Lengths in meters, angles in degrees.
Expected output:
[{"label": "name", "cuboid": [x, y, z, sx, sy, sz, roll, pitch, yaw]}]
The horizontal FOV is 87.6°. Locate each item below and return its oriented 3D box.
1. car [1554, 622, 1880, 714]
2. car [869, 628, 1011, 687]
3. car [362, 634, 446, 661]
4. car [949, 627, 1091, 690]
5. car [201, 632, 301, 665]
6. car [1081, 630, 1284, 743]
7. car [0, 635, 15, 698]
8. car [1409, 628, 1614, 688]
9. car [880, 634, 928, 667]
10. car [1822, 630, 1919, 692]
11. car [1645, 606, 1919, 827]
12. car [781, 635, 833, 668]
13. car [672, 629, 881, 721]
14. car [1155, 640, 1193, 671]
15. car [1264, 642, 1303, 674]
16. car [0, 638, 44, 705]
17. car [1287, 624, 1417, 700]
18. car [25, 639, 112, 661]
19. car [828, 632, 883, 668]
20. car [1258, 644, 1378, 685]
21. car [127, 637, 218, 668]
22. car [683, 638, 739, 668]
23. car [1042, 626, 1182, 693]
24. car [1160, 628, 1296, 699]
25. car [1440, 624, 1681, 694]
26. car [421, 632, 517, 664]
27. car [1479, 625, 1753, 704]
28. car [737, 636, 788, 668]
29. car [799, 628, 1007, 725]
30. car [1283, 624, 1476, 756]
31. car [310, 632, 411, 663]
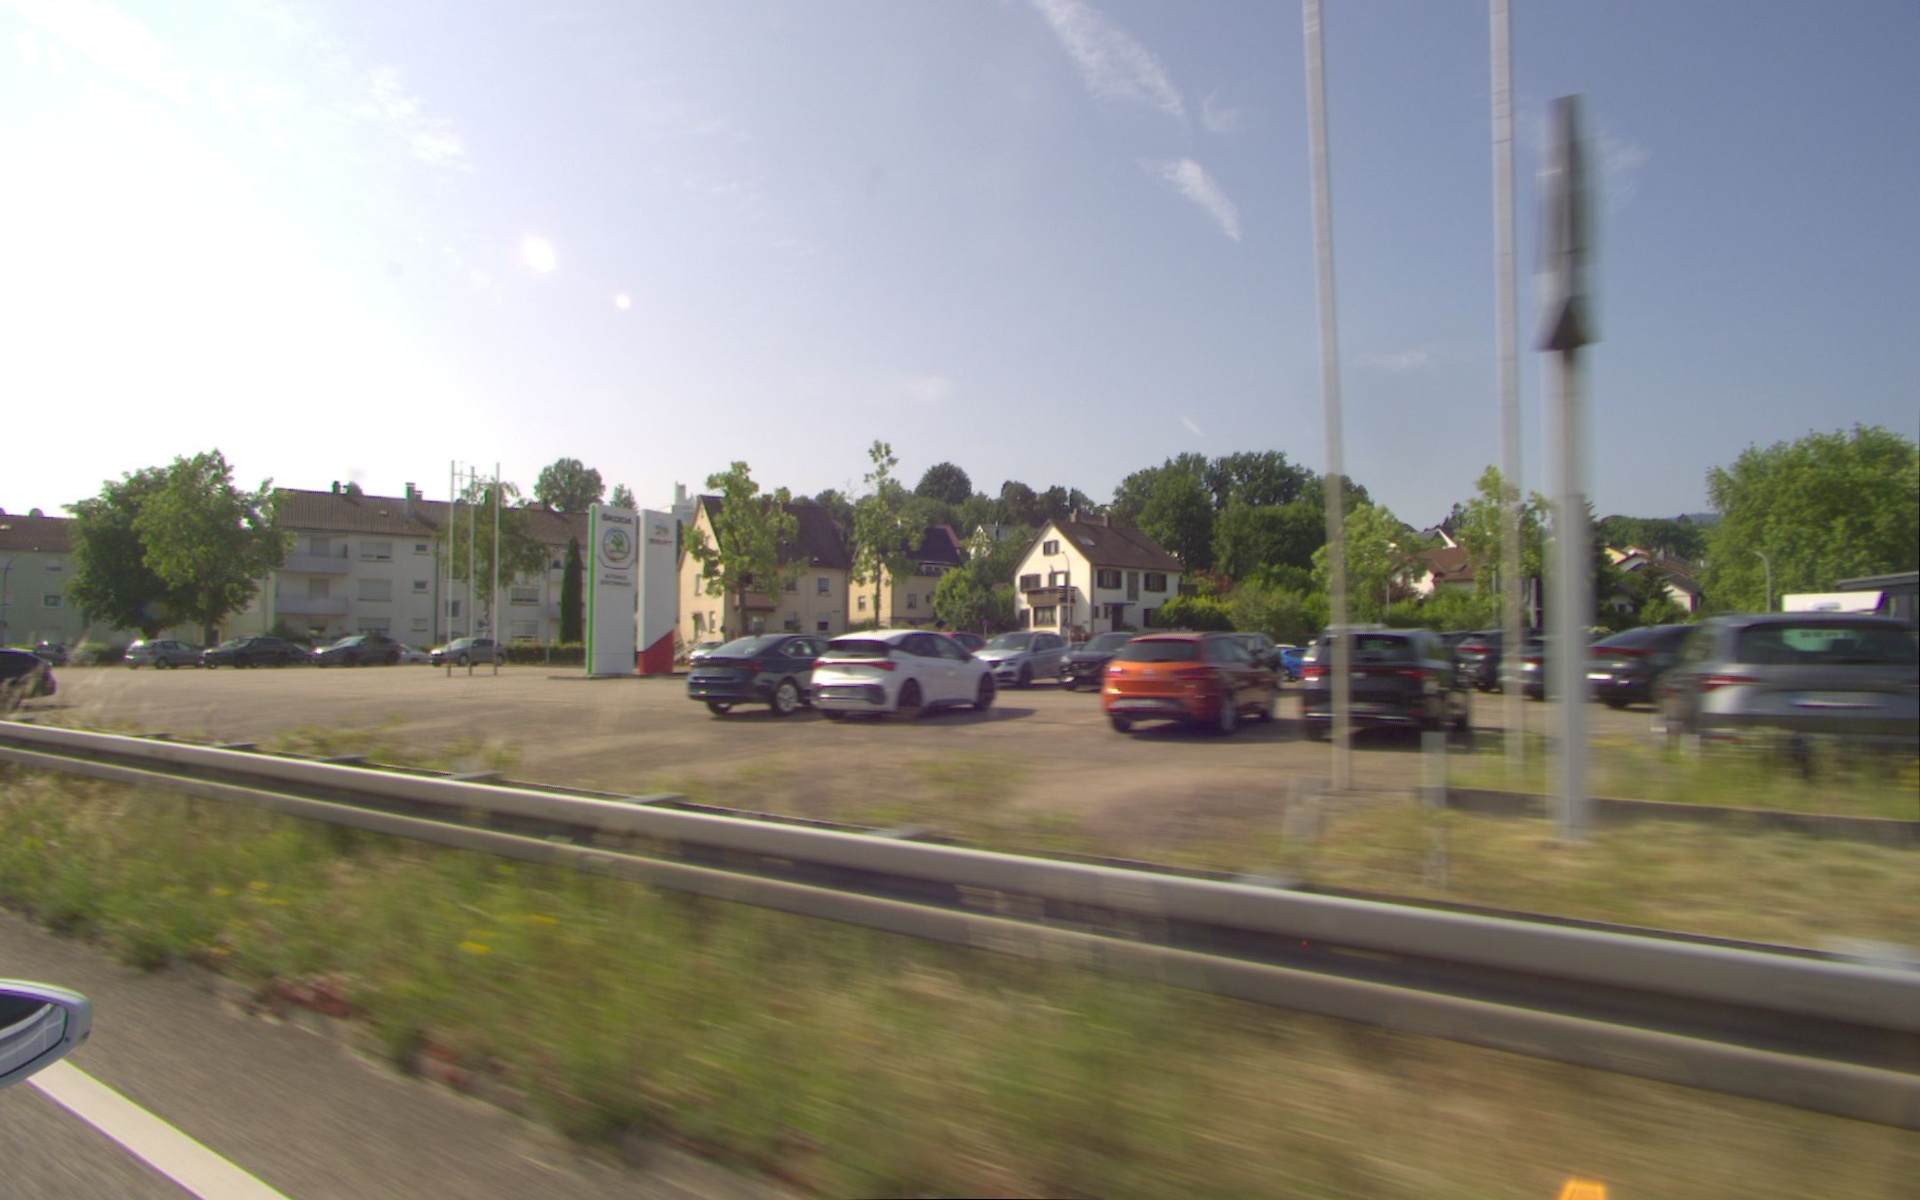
[{"label": "car", "cuboid": [14.125, 1.237, 18.882, 4.659, 1.585, 1.932, -1, -1, 0]}, {"label": "car", "cuboid": [-0.491, 1.654, 29.917, 1.905, 1.585, 4.725, -2, -2, 34]}, {"label": "car", "cuboid": [-32.074, 2.718, 57.793, 3.911, 1.493, 1.788, 0, -2, 4]}, {"label": "car", "cuboid": [1.799, 1.590, 28.355, 1.905, 1.585, 4.725, -2, -2, 34]}, {"label": "car", "cuboid": [-36.803, 2.512, 52.126, 1.805, 1.620, 4.499, 0, -2, 5]}, {"label": "car", "cuboid": [3.488, 1.202, 15.135, 1.799, 1.464, 3.981, -1, -2, 32]}, {"label": "car", "cuboid": [-25.657, 1.676, 23.927, 1.745, 1.576, 4.154, -1, -1, 29]}, {"label": "car", "cuboid": [15.050, 1.575, 27.580, 4.522, 1.566, 2.003, -1, -1, 9]}, {"label": "car", "cuboid": [-2.993, 2.708, 54.419, 1.894, 1.655, 4.753, -1, -1, 5]}, {"label": "car", "cuboid": [26.006, 1.599, 26.649, 4.276, 1.585, 1.789, -1, -1, 14]}, {"label": "car", "cuboid": [7.715, 0.938, 9.439, 1.766, 1.630, 4.072, -1, -2, 30]}, {"label": "car", "cuboid": [-8.199, 2.740, 53.978, 1.894, 1.608, 4.753, -1, -1, 2]}, {"label": "car", "cuboid": [-3.398, 1.359, 19.356, 1.797, 1.535, 4.153, -1, -2, 28]}, {"label": "car", "cuboid": [11.640, 2.990, 54.669, 1.742, 1.566, 4.752, -1, -2, 9]}, {"label": "car", "cuboid": [17.430, 3.129, 54.162, 1.744, 1.566, 4.747, -1, -2, 15]}, {"label": "car", "cuboid": [-23.378, 1.653, 22.239, 1.706, 1.510, 4.154, -1, -1, 29]}, {"label": "car", "cuboid": [9.385, 1.387, 23.748, 1.905, 1.585, 4.725, -2, -2, 34]}, {"label": "car", "cuboid": [-50.184, 2.806, 56.416, 3.591, 1.201, 1.595, 0, -2, 4]}, {"label": "car", "cuboid": [-5.565, 2.652, 54.023, 1.894, 1.803, 4.752, -1, -1, 7]}, {"label": "car", "cuboid": [14.840, 2.649, 41.599, 4.403, 1.566, 1.829, -2, -2, 34]}, {"label": "car", "cuboid": [-40.637, 2.667, 51.781, 1.625, 1.541, 3.768, 0, -2, 2]}, {"label": "car", "cuboid": [-13.328, 2.812, 53.818, 1.894, 1.477, 4.753, -1, -2, -1]}, {"label": "car", "cuboid": [4.173, 1.516, 26.810, 1.905, 1.585, 4.725, -2, -2, 34]}, {"label": "car", "cuboid": [6.868, 1.530, 25.273, 1.905, 1.585, 4.725, -2, -2, 34]}, {"label": "car", "cuboid": [14.584, 1.419, 24.532, 4.659, 1.585, 1.932, -1, -1, 4]}, {"label": "car", "cuboid": [-25.336, 2.466, 51.855, 1.960, 1.541, 4.760, -1, -2, 12]}, {"label": "car", "cuboid": [14.104, 1.361, 21.733, 4.659, 1.585, 1.932, -1, -1, 0]}, {"label": "car", "cuboid": [-10.574, 2.753, 53.994, 1.894, 1.608, 4.753, -1, -1, -1]}, {"label": "car", "cuboid": [-0.909, 1.308, 18.253, 1.799, 1.535, 4.086, -1, -2, 32]}, {"label": "car", "cuboid": [5.807, 1.111, 13.602, 1.816, 1.505, 3.981, -1, -2, 32]}, {"label": "car", "cuboid": [-30.957, 2.430, 51.891, 1.829, 1.541, 4.635, -1, -2, 12]}]
